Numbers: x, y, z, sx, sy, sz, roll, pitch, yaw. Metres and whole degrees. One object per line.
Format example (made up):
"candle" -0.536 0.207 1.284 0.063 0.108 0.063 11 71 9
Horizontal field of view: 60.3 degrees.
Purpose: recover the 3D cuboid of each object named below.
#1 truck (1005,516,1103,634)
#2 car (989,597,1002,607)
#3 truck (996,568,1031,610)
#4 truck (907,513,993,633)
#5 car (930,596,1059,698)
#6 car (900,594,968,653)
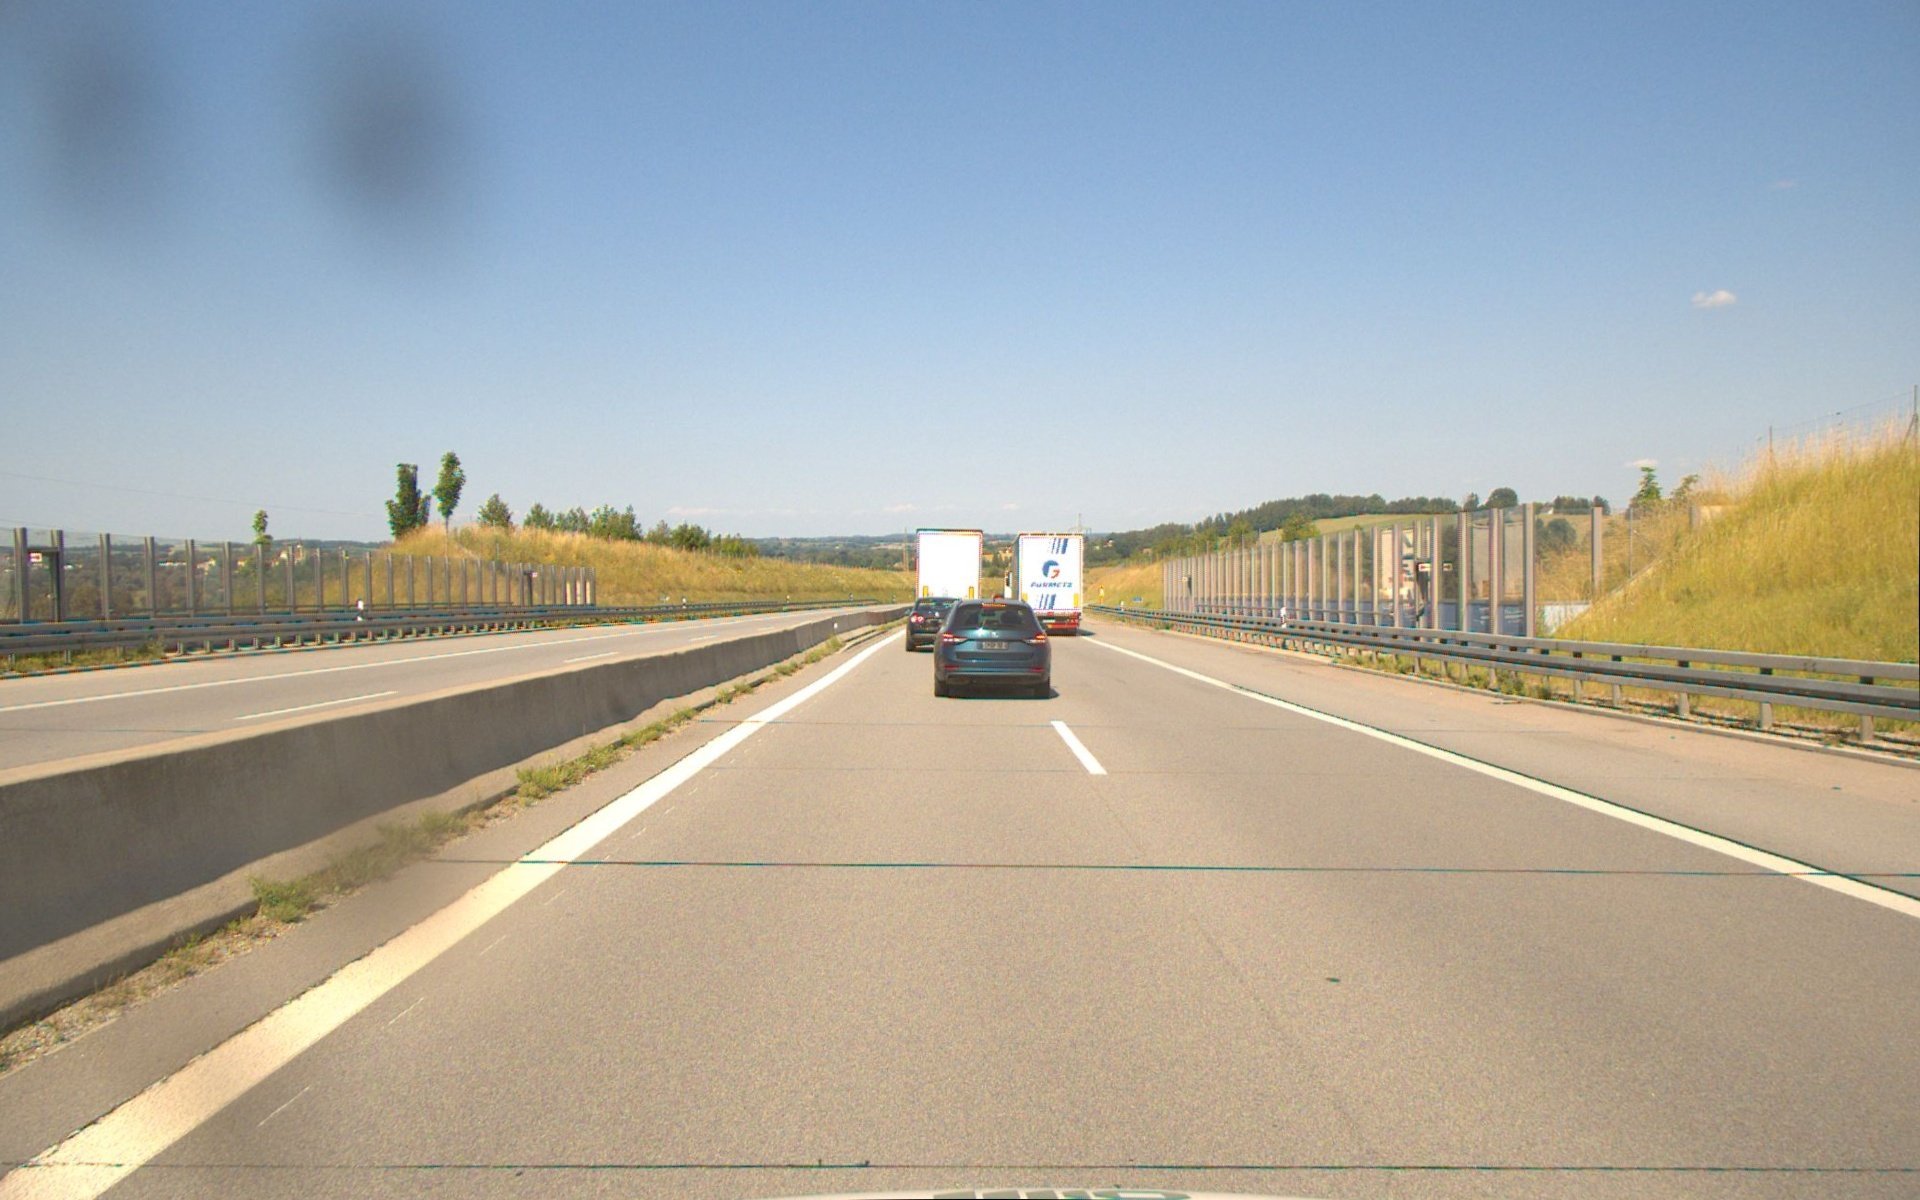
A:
"truck" 3.813 -0.996 69.956 3.530 4.457 11.234 -2 0 1
"car" 4.983 0.251 230.089 1.665 1.466 3.999 0 0 -1
"truck" 5.989 -1.211 186.557 3.530 4.457 11.234 -2 0 1
"truck" -0.270 -1.063 69.082 3.144 4.457 11.235 -2 0 1
"car" 0.468 0.673 25.826 1.741 1.466 3.786 0 0 -3
"car" -0.746 0.611 45.144 1.666 1.466 3.998 -2 0 -3
